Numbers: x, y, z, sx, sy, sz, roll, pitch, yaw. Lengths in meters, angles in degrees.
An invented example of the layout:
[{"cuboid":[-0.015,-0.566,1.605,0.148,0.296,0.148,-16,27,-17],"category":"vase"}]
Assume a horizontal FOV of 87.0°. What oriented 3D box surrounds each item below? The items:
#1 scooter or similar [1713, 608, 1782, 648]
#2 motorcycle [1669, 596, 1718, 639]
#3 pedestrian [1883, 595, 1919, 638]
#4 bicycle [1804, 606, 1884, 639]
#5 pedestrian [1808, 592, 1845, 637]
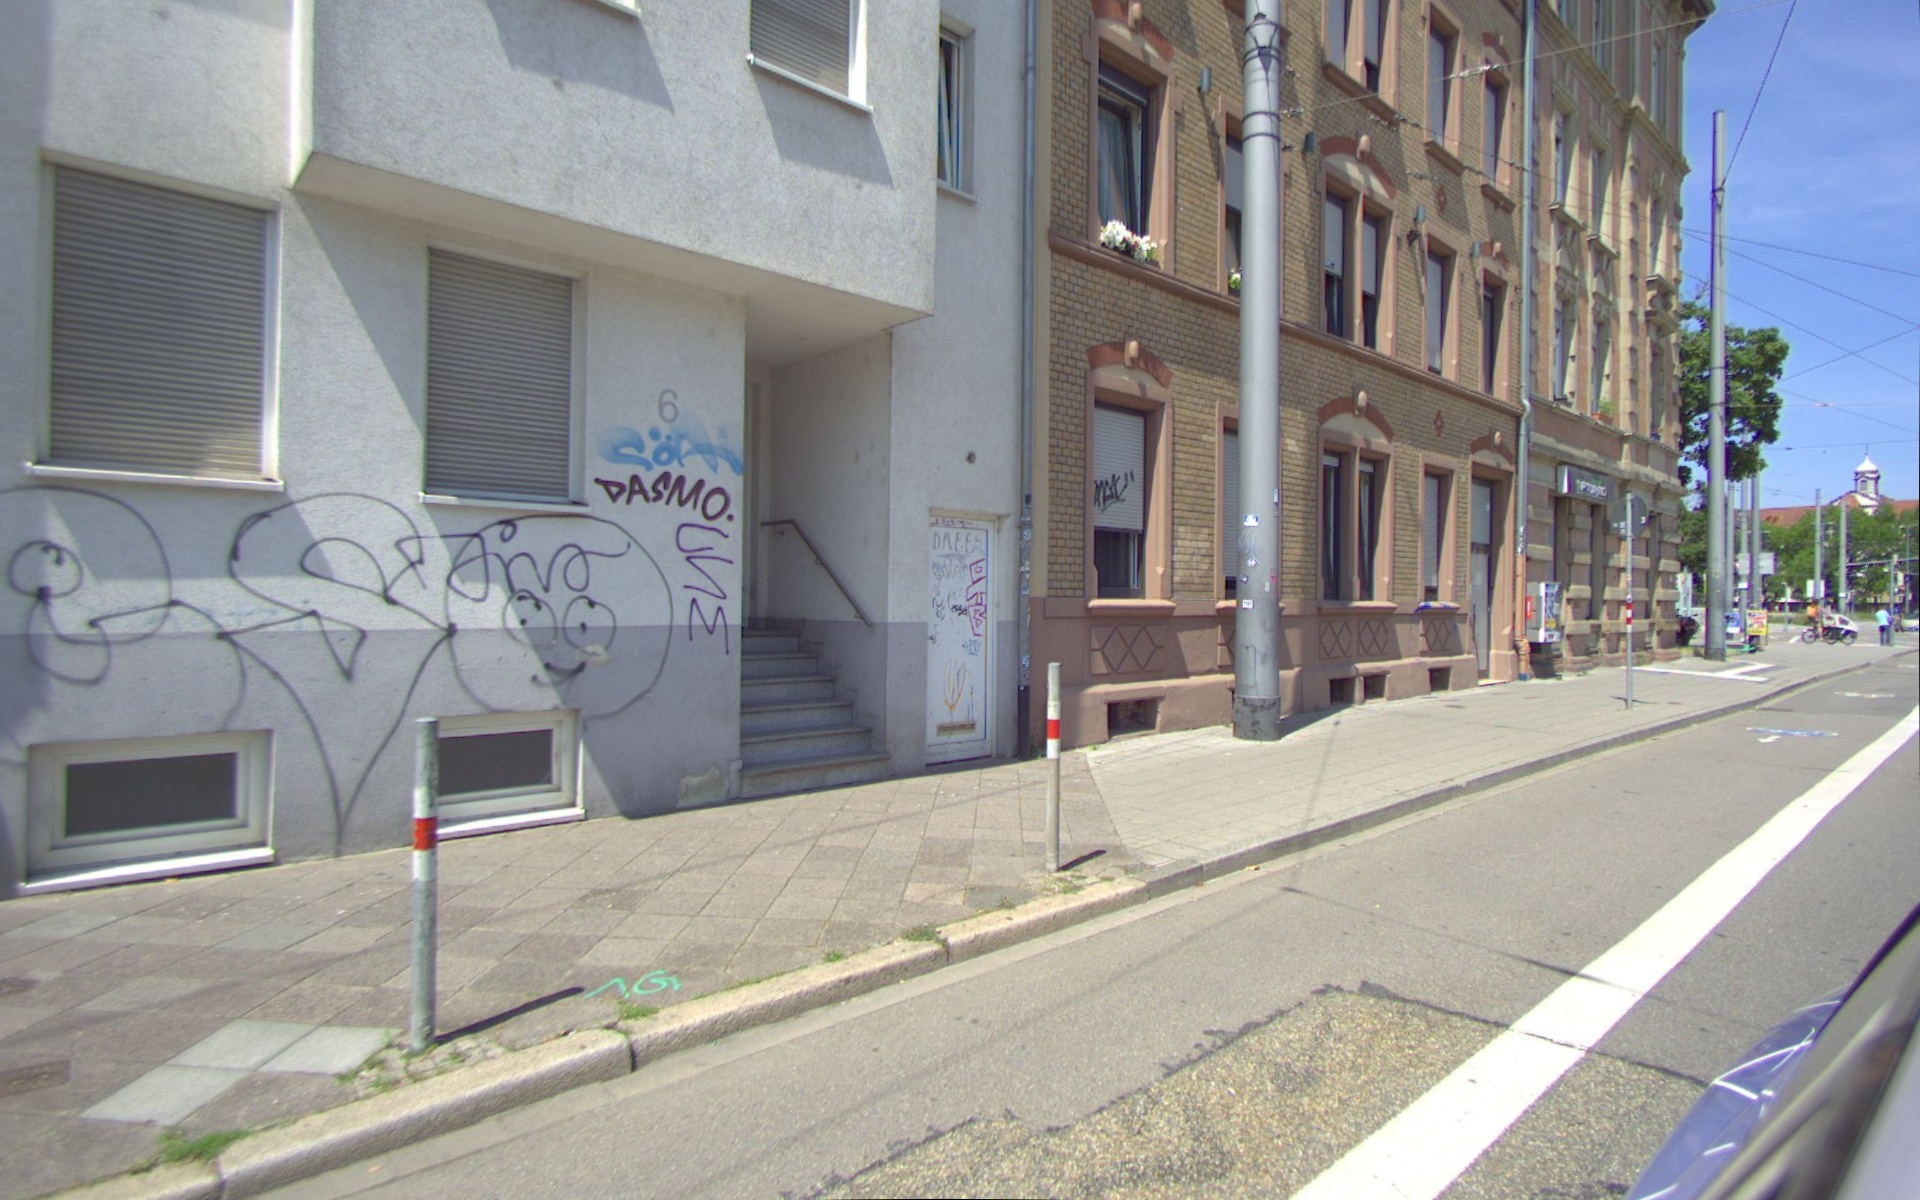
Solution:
[{"cuboid":[24.266,0.857,31.203,1.506,1.170,0.710,1,0,20],"category":"scooter or similar"},{"cuboid":[24.160,0.556,33.306,2.551,1.379,0.765,0,0,-42],"category":"motorcycle"},{"cuboid":[40.187,0.703,43.190,0.856,1.802,0.811,1,0,-9],"category":"pedestrian"},{"cuboid":[35.720,0.882,40.910,2.181,1.267,1.098,1,0,5],"category":"bicycle"},{"cuboid":[35.065,0.590,40.951,0.810,1.798,0.813,0,0,4],"category":"pedestrian"}]
